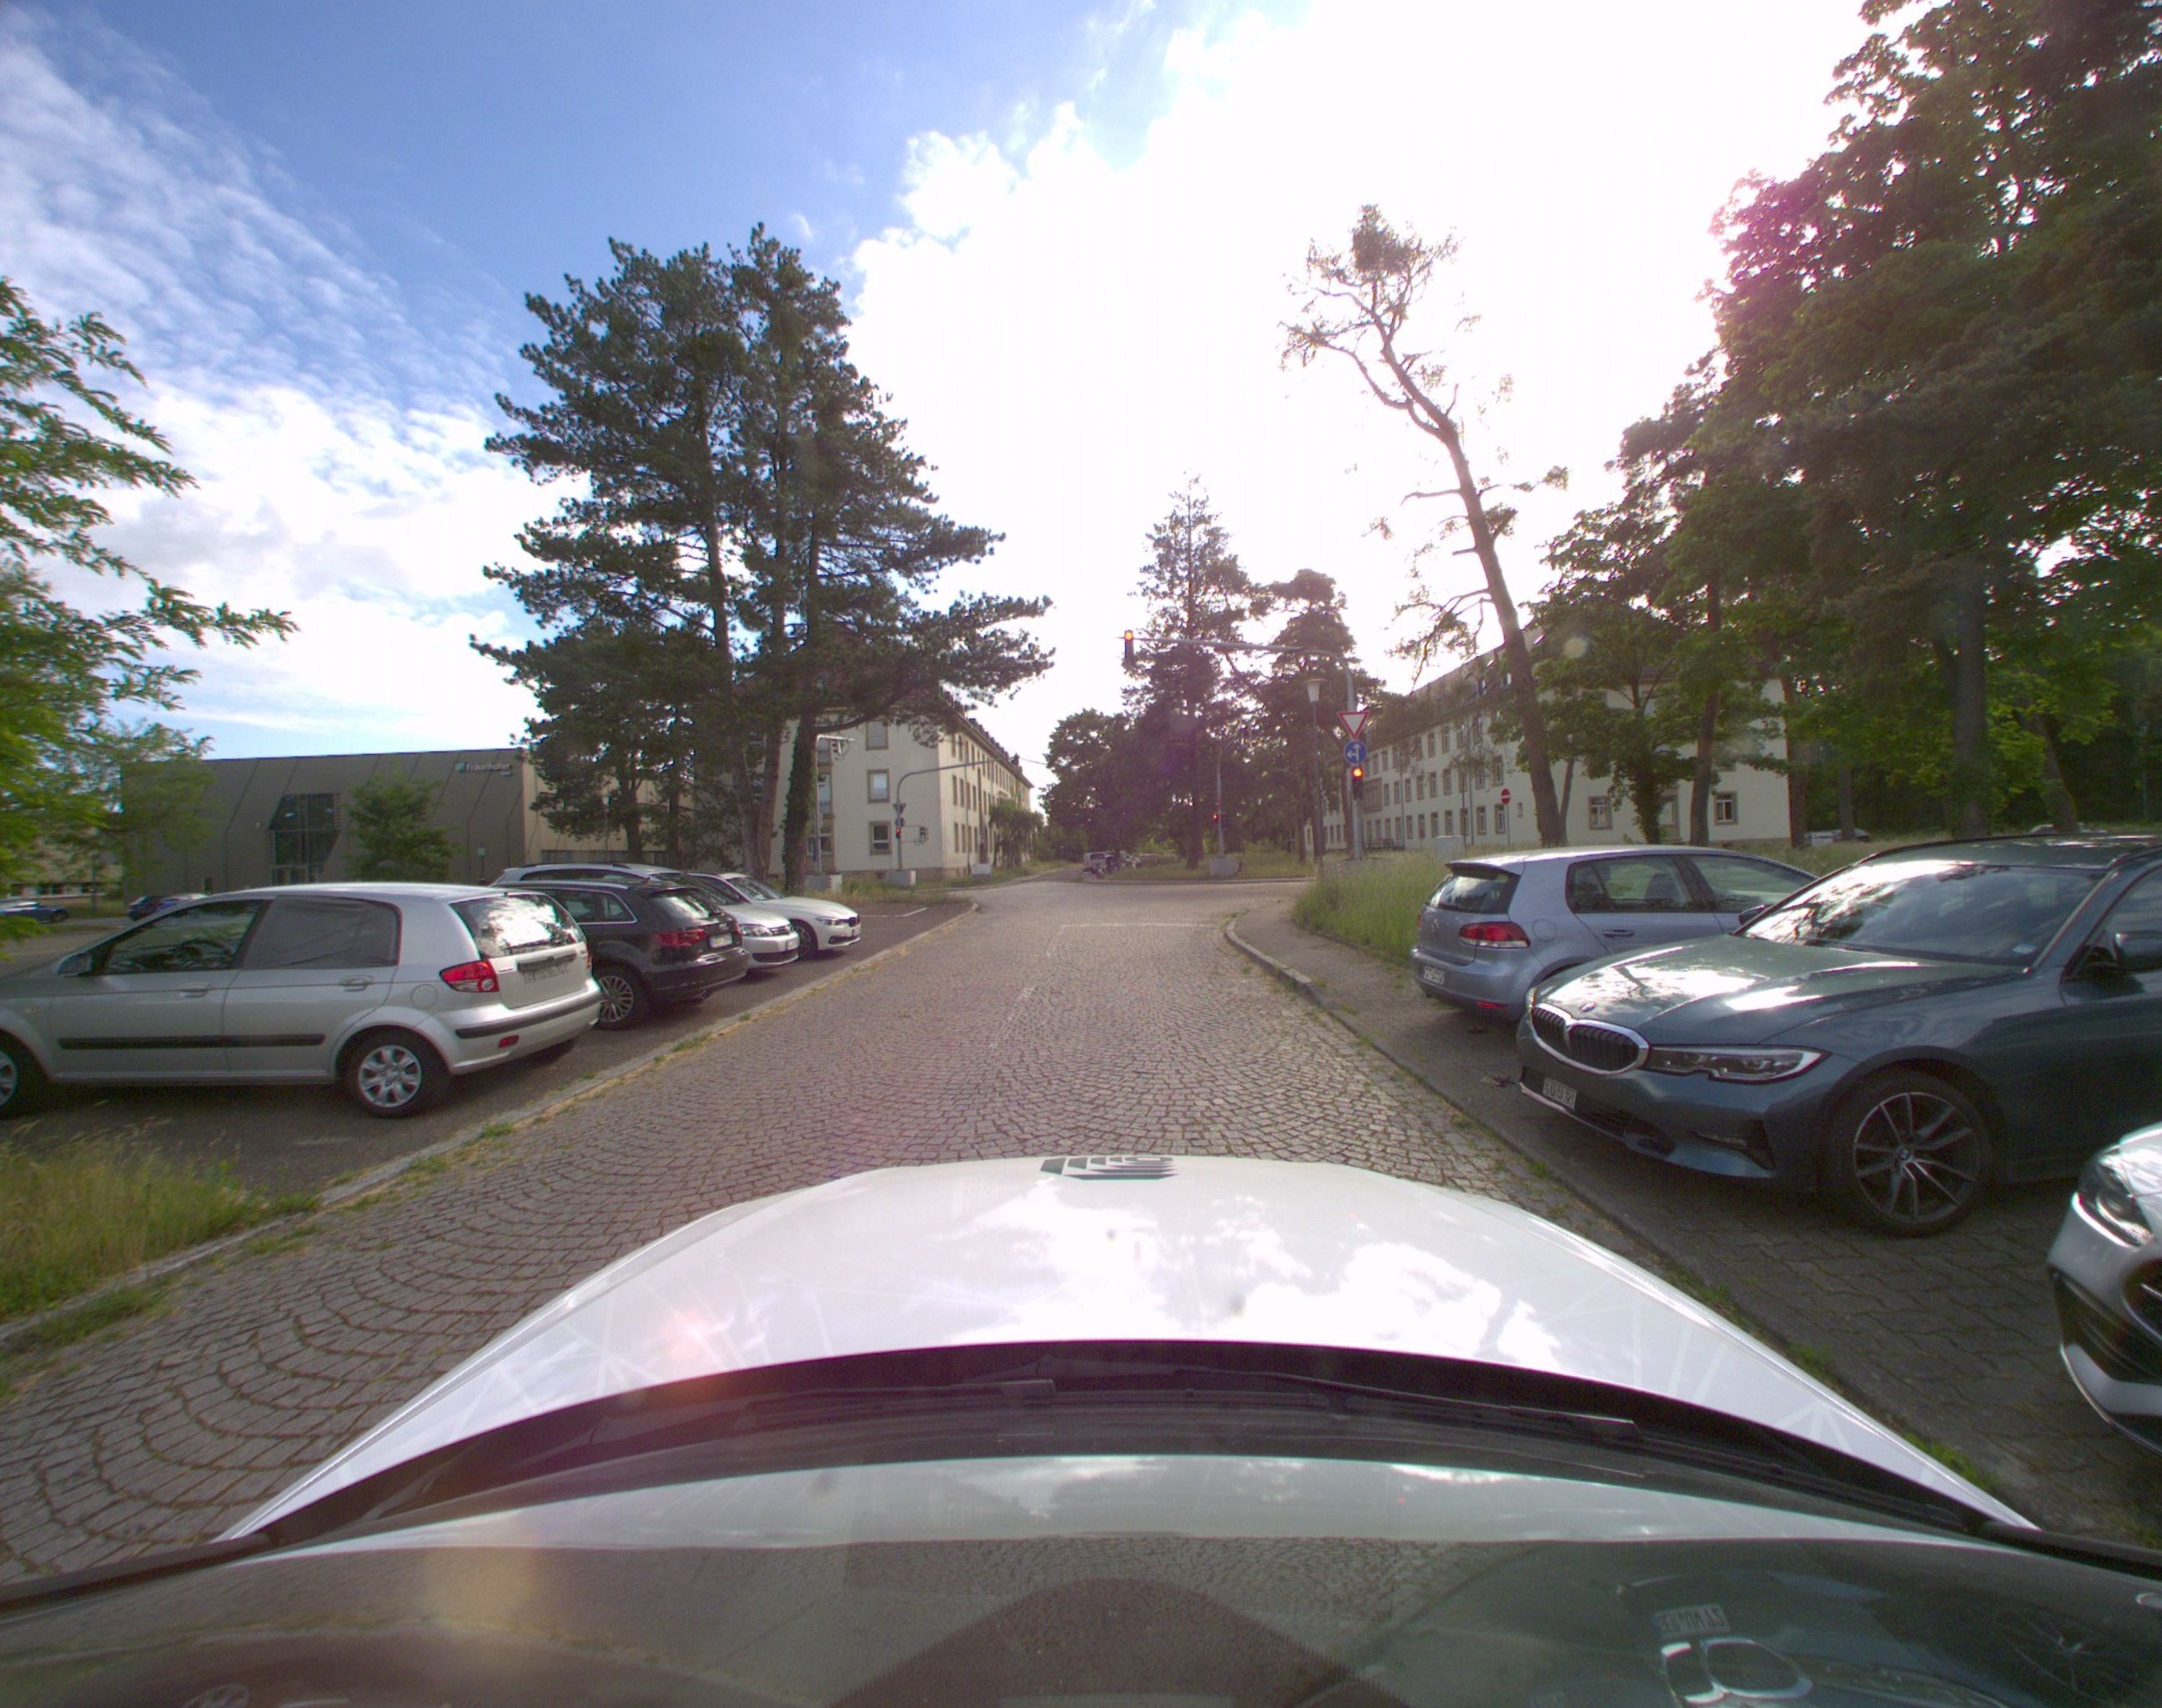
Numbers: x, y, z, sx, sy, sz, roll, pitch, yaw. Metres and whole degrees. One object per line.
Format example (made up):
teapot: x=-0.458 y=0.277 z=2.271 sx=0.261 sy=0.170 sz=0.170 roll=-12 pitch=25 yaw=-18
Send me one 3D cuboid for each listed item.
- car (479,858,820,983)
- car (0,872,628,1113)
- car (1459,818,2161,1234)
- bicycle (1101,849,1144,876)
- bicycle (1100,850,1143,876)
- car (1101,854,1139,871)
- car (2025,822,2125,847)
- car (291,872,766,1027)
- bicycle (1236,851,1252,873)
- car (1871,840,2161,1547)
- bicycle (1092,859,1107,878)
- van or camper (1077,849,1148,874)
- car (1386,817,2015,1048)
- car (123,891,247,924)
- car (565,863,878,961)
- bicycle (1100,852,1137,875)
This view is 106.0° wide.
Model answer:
car: x=-5.877 y=0.866 z=11.453 sx=3.820 sy=1.607 sz=1.735 roll=0 pitch=0 yaw=-2
car: x=-5.591 y=0.899 z=5.966 sx=3.566 sy=1.476 sz=1.646 roll=1 pitch=0 yaw=-1
car: x=4.547 y=0.602 z=4.035 sx=4.500 sy=1.483 sz=1.807 roll=-2 pitch=0 yaw=-1
bicycle: x=2.801 y=0.573 z=55.763 sx=2.770 sy=1.694 sz=1.118 roll=-2 pitch=0 yaw=-4
bicycle: x=2.813 y=0.604 z=56.958 sx=2.772 sy=1.694 sz=1.118 roll=-2 pitch=0 yaw=-6
car: x=3.341 y=0.737 z=70.153 sx=3.132 sy=1.354 sz=1.617 roll=-2 pitch=0 yaw=-5
car: x=58.610 y=-1.138 z=48.071 sx=3.972 sy=1.398 sz=1.564 roll=0 pitch=0 yaw=1
car: x=-5.585 y=0.930 z=8.599 sx=3.822 sy=1.408 sz=1.696 roll=0 pitch=0 yaw=0
bicycle: x=8.762 y=0.419 z=43.841 sx=0.720 sy=1.169 sz=2.743 roll=0 pitch=0 yaw=8
car: x=4.343 y=0.607 z=1.354 sx=4.311 sy=1.428 sz=1.767 roll=-3 pitch=0 yaw=0
bicycle: x=1.190 y=0.911 z=51.511 sx=0.723 sy=1.107 sz=2.464 roll=-7 pitch=-1 yaw=3
van or camper: x=2.820 y=0.649 z=73.743 sx=6.037 sy=1.948 sz=1.992 roll=-2 pitch=0 yaw=-12
car: x=4.730 y=0.563 z=6.641 sx=3.829 sy=1.471 sz=1.642 roll=-3 pitch=0 yaw=0
car: x=-47.251 y=2.798 z=43.085 sx=1.750 sy=1.414 sz=4.137 roll=-2 pitch=0 yaw=5
car: x=-5.952 y=0.943 z=13.925 sx=4.466 sy=1.442 sz=1.829 roll=1 pitch=0 yaw=-2
bicycle: x=2.829 y=0.702 z=61.863 sx=2.764 sy=1.694 sz=1.121 roll=0 pitch=-1 yaw=2
